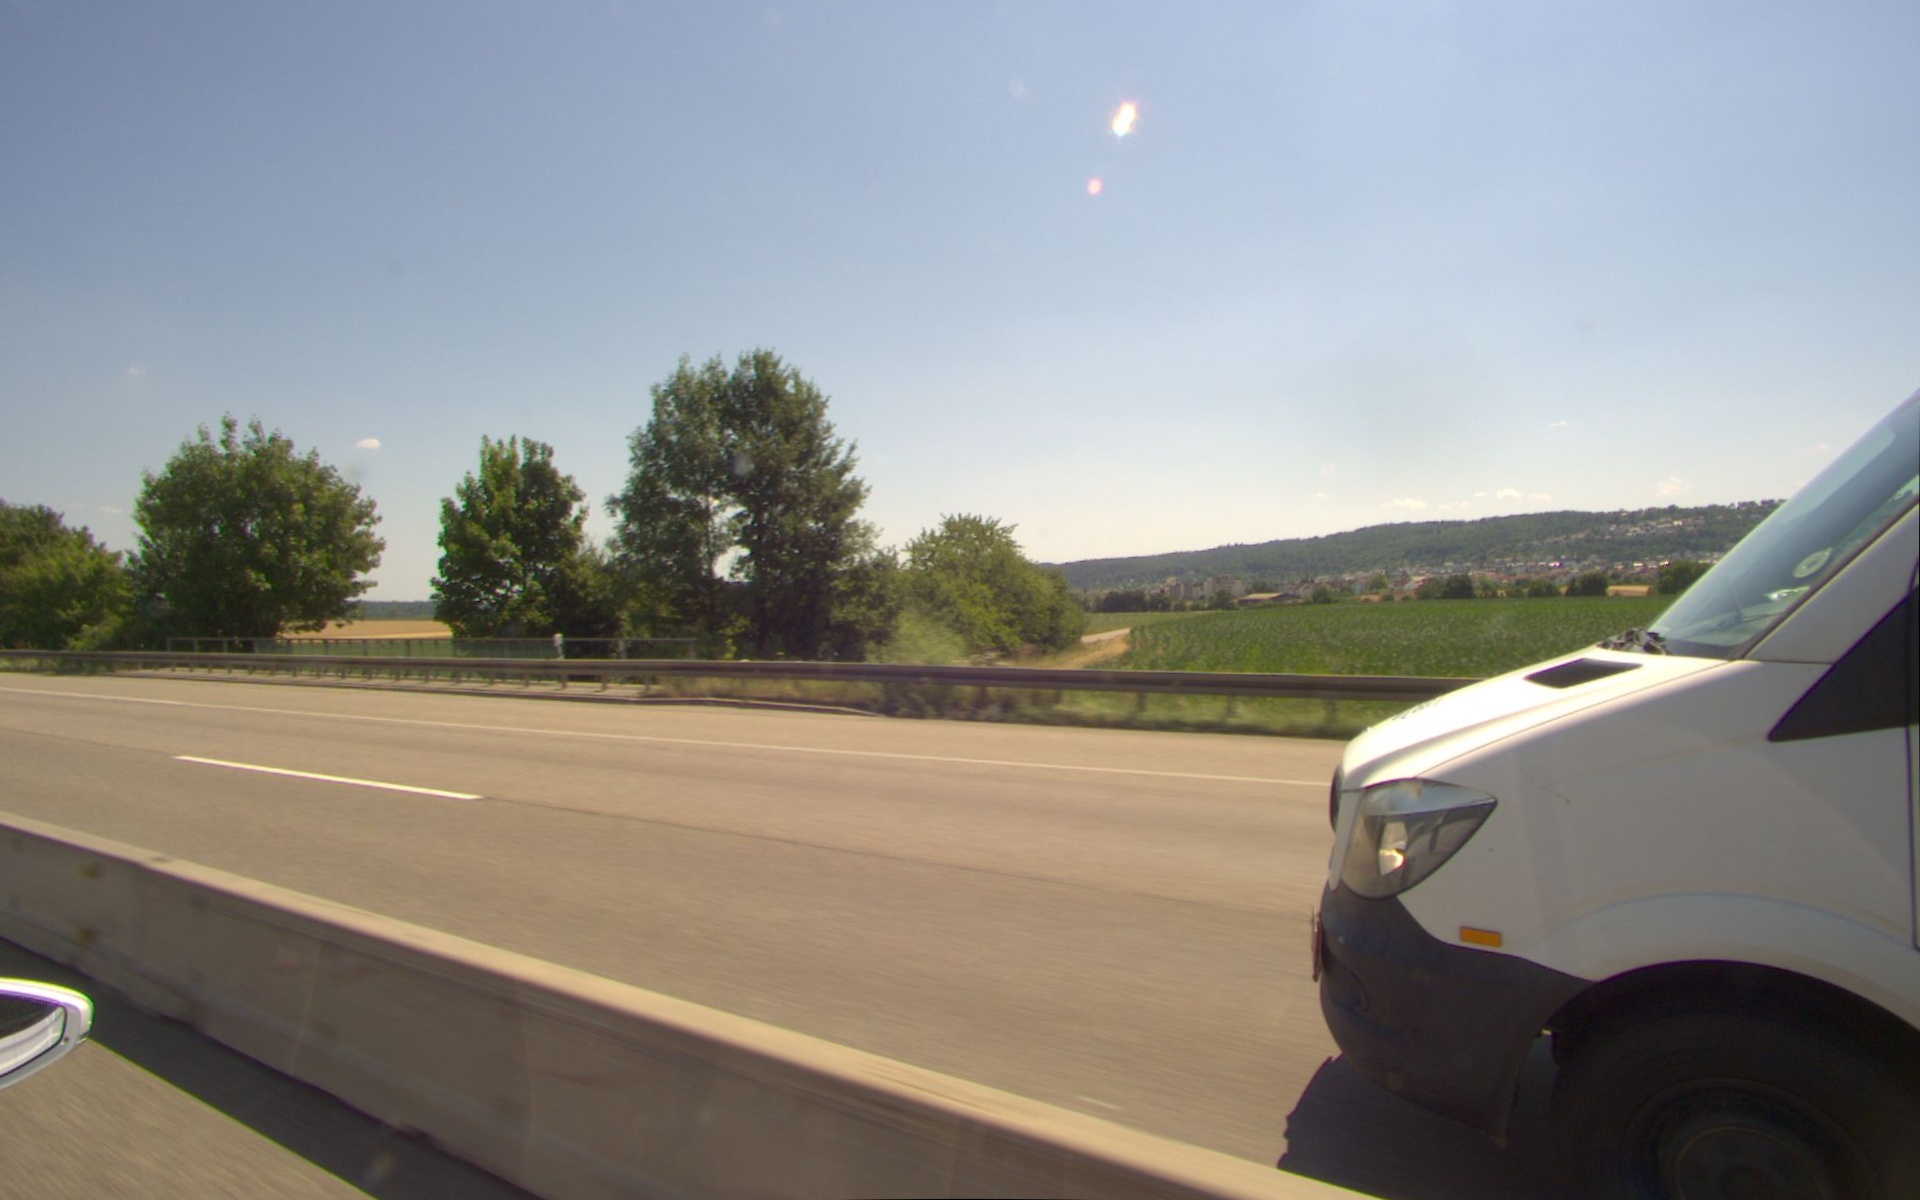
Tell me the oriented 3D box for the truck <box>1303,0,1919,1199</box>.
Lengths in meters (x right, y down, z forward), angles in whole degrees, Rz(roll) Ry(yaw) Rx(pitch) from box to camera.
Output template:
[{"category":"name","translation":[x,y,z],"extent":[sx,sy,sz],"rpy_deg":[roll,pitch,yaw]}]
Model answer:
[{"category":"truck","translation":[4.187,-0.053,1.469],"extent":[6.654,3.107,2.317],"rpy_deg":[-1,-1,32]}]
